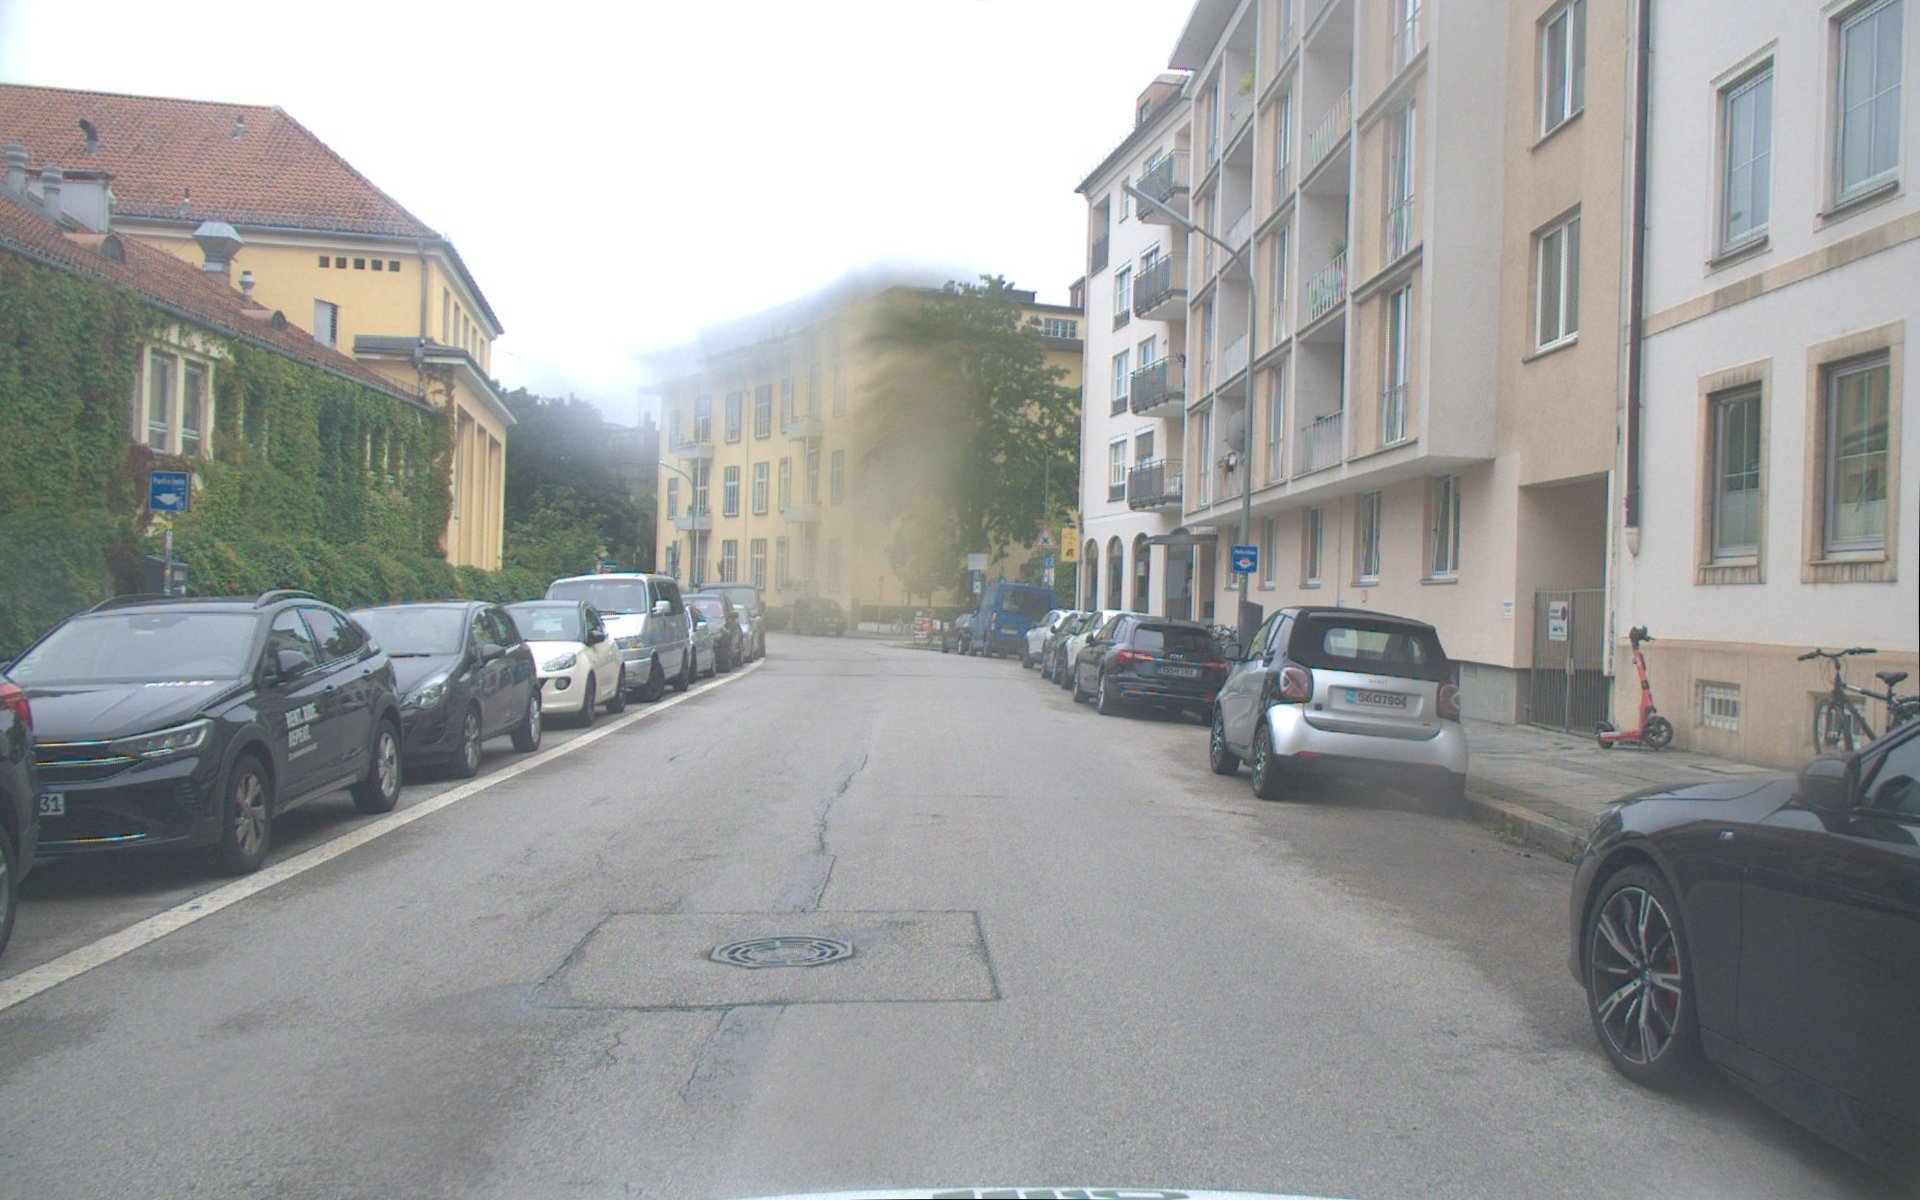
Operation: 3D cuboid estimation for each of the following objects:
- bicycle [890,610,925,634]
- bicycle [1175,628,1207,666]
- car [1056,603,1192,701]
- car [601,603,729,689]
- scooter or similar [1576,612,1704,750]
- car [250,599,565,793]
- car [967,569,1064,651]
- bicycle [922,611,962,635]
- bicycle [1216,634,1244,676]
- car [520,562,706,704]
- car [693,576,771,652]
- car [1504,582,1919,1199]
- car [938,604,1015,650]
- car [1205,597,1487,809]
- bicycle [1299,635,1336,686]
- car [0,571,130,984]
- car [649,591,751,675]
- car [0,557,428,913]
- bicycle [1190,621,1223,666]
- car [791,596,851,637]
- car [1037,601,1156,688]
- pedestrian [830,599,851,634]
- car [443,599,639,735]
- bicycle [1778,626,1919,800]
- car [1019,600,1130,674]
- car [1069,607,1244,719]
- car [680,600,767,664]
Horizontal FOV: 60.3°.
[{"bbox_3d":[-2.834,1.205,89.326,1.889,1.222,0.593,2,0,35],"label":"bicycle"},{"bbox_3d":[6.010,1.218,43.067,0.446,0.939,1.734,2,0,-4],"label":"bicycle"},{"bbox_3d":[2.879,0.879,29.951,1.661,1.515,4.577,3,0,-4],"label":"car"},{"bbox_3d":[-5.493,0.803,31.304,1.619,1.439,4.769,-2,0,-1],"label":"car"},{"bbox_3d":[7.160,0.847,17.484,0.432,1.382,1.585,2,-2,-13],"label":"scooter or similar"},{"bbox_3d":[-4.824,0.754,15.069,1.571,1.455,4.249,-2,0,-3],"label":"car"},{"bbox_3d":[1.671,0.377,51.973,2.040,2.272,5.234,5,-3,-8],"label":"car"},{"bbox_3d":[-0.946,1.209,88.203,2.023,1.222,0.596,2,0,12],"label":"bicycle"},{"bbox_3d":[6.272,1.262,38.462,0.370,0.921,1.391,2,0,-1],"label":"bicycle"},{"bbox_3d":[-5.221,0.464,25.495,1.848,1.922,4.773,-2,0,-1],"label":"car"},{"bbox_3d":[-6.382,0.387,46.595,2.033,1.998,5.341,-1,0,-7],"label":"car"},{"bbox_3d":[3.173,0.774,3.912,1.766,1.510,5.317,4,0,-2],"label":"car"},{"bbox_3d":[0.535,0.912,58.079,1.649,1.413,4.290,5,-1,-13],"label":"car"},{"bbox_3d":[3.201,0.797,14.220,1.617,1.521,2.880,4,0,-1],"label":"car"},{"bbox_3d":[6.892,1.150,31.919,0.370,0.921,1.391,2,0,-1],"label":"bicycle"},{"bbox_3d":[-4.574,0.720,5.143,1.753,1.614,4.815,-2,0,-3],"label":"car"},{"bbox_3d":[-5.604,0.680,36.062,1.663,1.671,4.488,-1,0,-3],"label":"car"},{"bbox_3d":[-4.690,0.642,9.998,1.690,1.658,4.463,-1,0,-3],"label":"car"},{"bbox_3d":[6.507,1.130,43.701,0.446,1.130,1.852,2,0,-4],"label":"bicycle"},{"bbox_3d":[-7.441,0.874,88.220,1.739,1.907,4.348,6,-1,-23],"label":"car"},{"bbox_3d":[2.805,0.878,34.983,1.842,1.548,5.162,5,0,-2],"label":"car"},{"bbox_3d":[-6.398,0.875,88.464,0.862,1.855,0.793,2,0,-22],"label":"pedestrian"},{"bbox_3d":[-5.021,0.736,20.317,1.559,1.466,4.016,-1,0,-3],"label":"car"},{"bbox_3d":[7.278,0.847,13.089,0.519,1.239,2.102,2,0,-1],"label":"bicycle"},{"bbox_3d":[2.715,0.845,40.312,1.751,1.560,4.641,4,0,-7],"label":"car"},{"bbox_3d":[2.837,0.873,25.006,1.711,1.412,4.950,3,0,-4],"label":"car"},{"bbox_3d":[-5.845,0.757,41.361,1.661,1.417,4.498,-3,0,-3],"label":"car"}]
